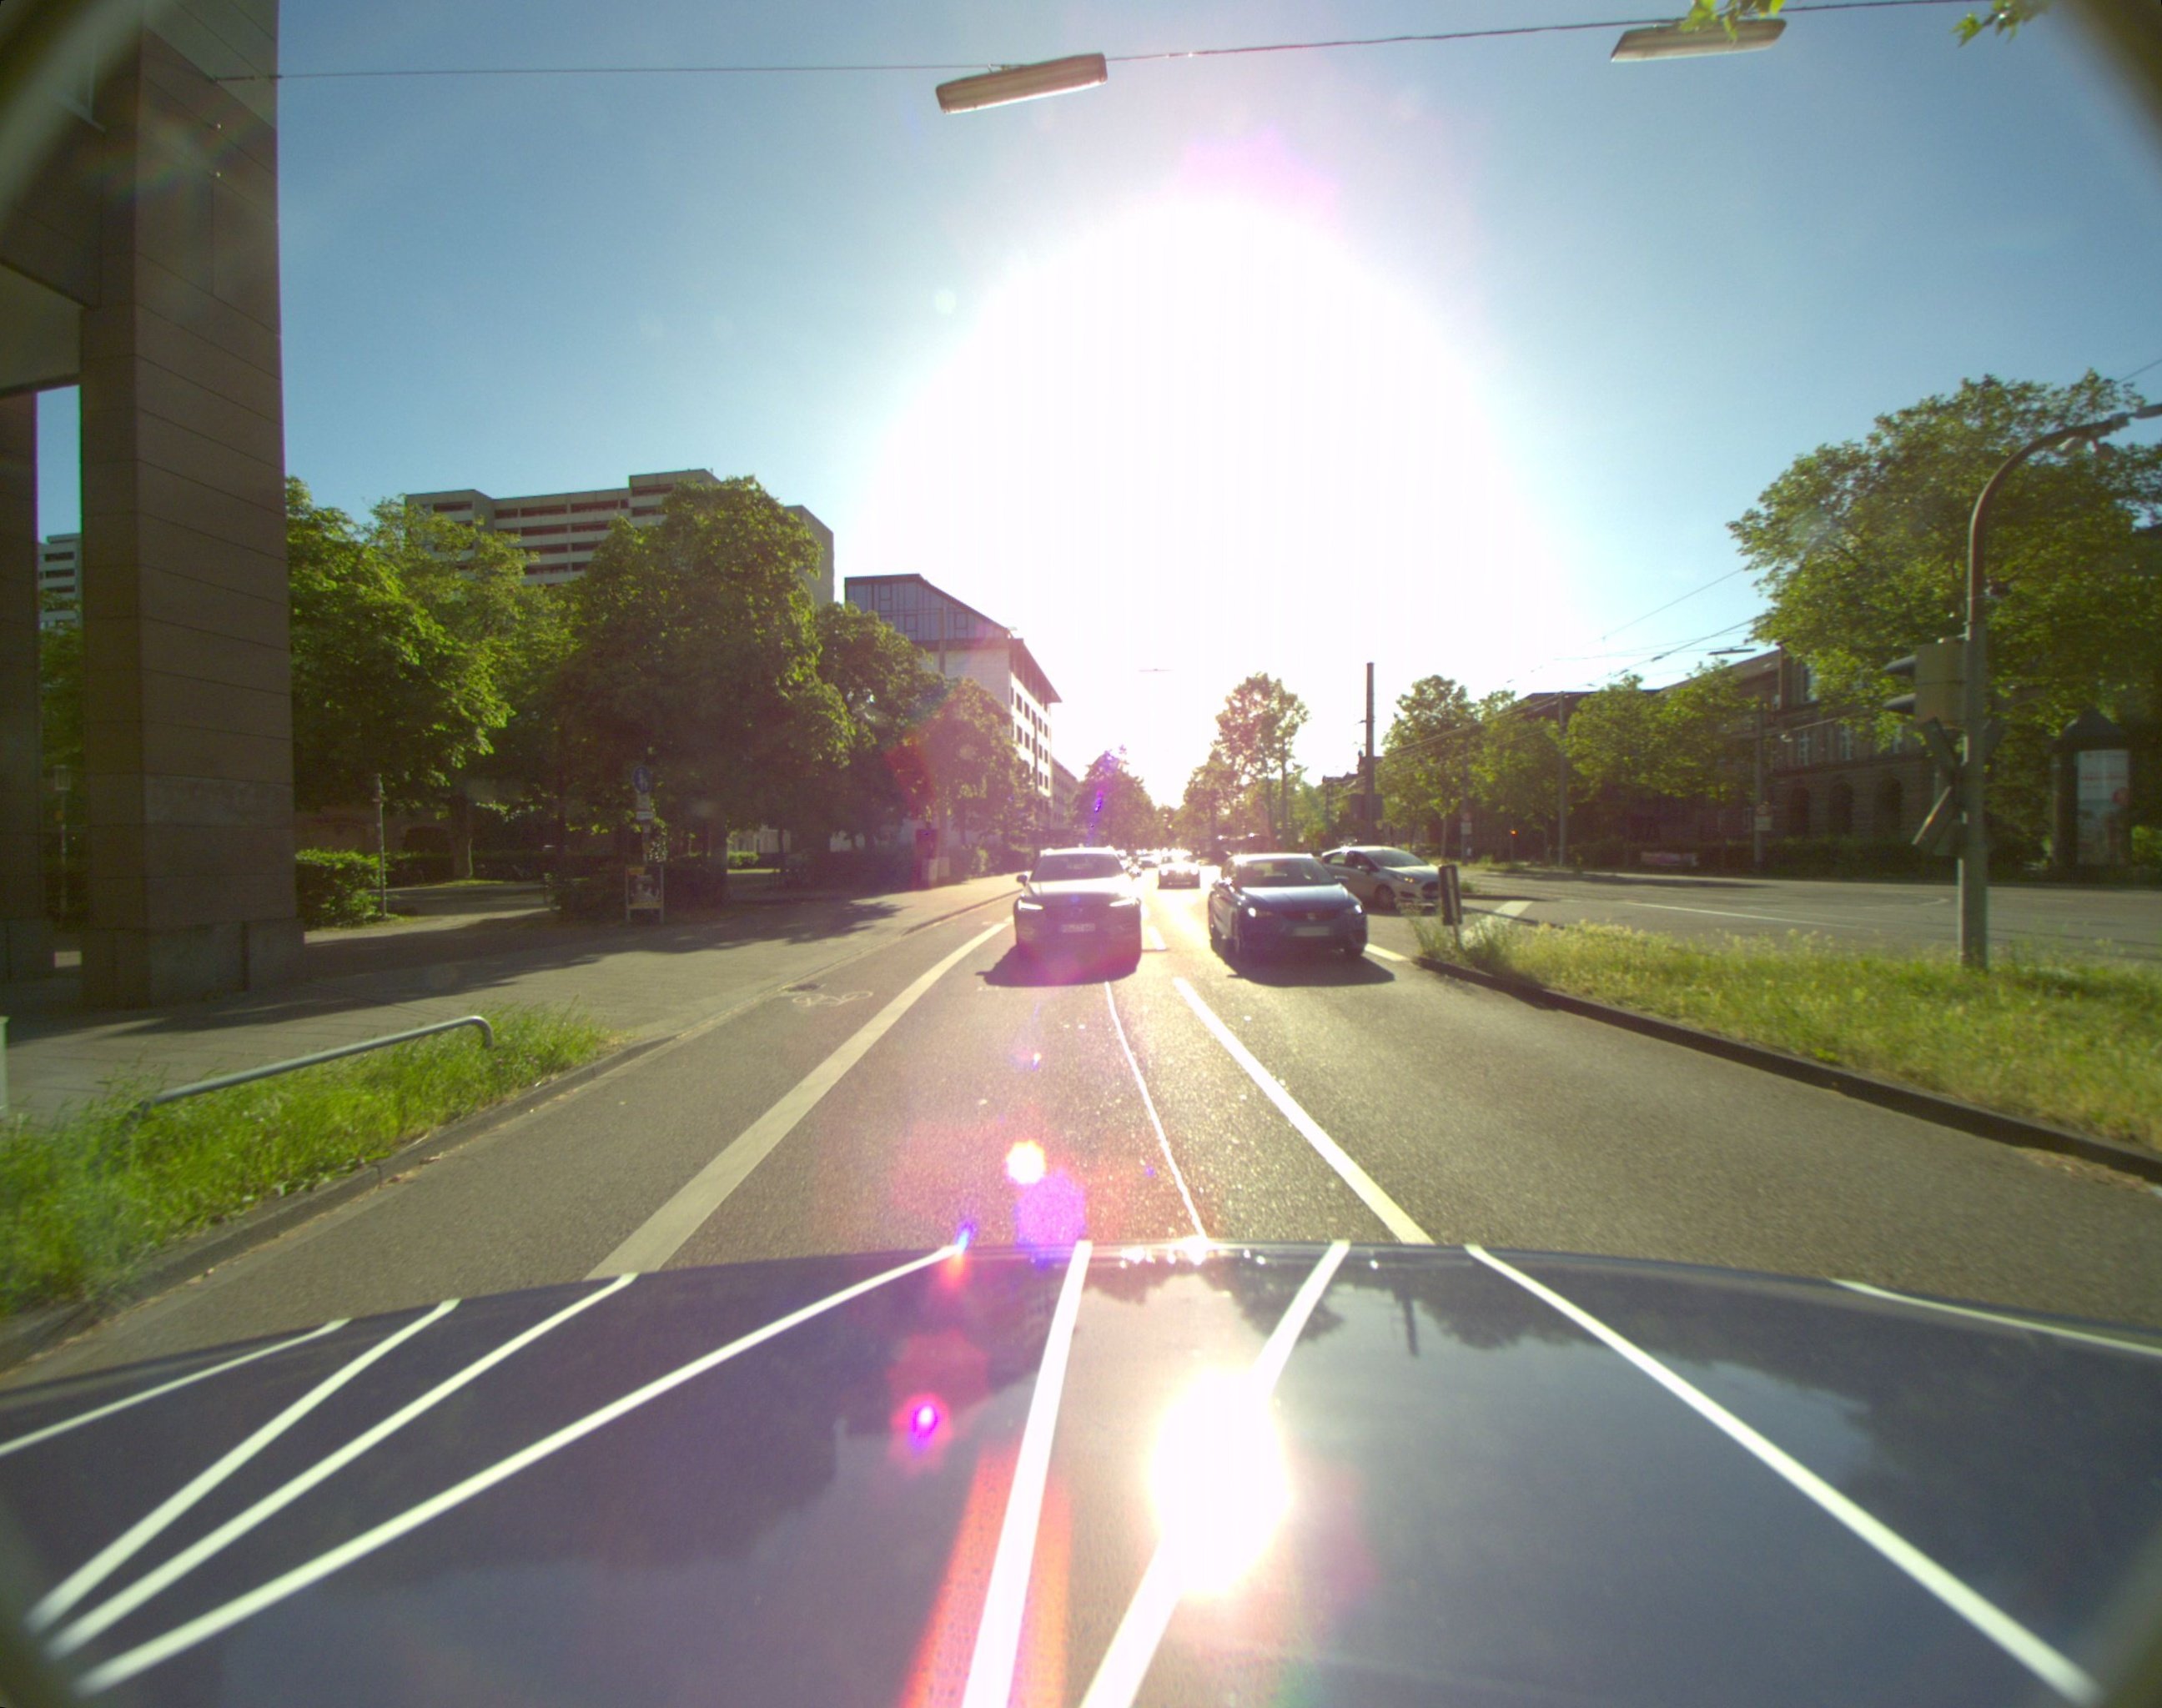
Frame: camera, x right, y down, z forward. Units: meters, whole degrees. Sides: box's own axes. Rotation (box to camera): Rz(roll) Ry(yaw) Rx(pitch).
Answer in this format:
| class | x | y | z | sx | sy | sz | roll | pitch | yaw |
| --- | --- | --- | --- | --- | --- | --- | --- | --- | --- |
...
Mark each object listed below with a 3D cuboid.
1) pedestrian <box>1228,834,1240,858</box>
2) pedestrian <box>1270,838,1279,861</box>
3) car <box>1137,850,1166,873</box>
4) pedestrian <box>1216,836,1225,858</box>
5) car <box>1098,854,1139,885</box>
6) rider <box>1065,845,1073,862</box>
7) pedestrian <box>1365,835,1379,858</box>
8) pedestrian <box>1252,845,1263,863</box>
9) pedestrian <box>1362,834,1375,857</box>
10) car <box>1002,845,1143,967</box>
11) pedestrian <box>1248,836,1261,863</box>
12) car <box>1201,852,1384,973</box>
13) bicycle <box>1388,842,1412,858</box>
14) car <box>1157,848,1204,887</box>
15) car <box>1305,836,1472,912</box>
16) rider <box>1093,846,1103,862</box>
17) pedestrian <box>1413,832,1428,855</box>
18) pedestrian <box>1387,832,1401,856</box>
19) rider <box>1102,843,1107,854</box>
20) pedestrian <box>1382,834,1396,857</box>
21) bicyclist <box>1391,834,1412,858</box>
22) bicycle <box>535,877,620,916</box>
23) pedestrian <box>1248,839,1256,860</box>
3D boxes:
| class | x | y | z | sx | sy | sz | roll | pitch | yaw |
| --- | --- | --- | --- | --- | --- | --- | --- | --- | --- |
| pedestrian | 13.796 | -0.711 | 68.618 | 0.785 | 2.175 | 0.801 | -2 | 1 | 26 |
| pedestrian | 14.448 | -0.344 | 56.763 | 0.544 | 1.652 | 0.730 | -2 | 1 | 11 |
| car | 5.524 | 0.572 | 58.949 | 1.774 | 1.567 | 3.825 | -2 | 1 | 11 |
| pedestrian | 13.039 | -0.652 | 70.886 | 0.710 | 2.002 | 0.787 | -3 | 1 | 7 |
| car | 1.879 | 0.725 | 37.045 | 1.603 | 1.387 | 4.002 | -1 | 1 | 8 |
| rider | -1.160 | -0.026 | 72.818 | 0.778 | 1.582 | 0.790 | 0 | 1 | 3 |
| pedestrian | 21.776 | -0.578 | 56.814 | 0.595 | 1.667 | 0.698 | -3 | 1 | -27 |
| pedestrian | 11.974 | -0.009 | 51.585 | 0.594 | 1.226 | 0.425 | -3 | 1 | -4 |
| pedestrian | 22.005 | -0.637 | 58.127 | 0.595 | 1.735 | 0.698 | -3 | 1 | -27 |
| car | 0.096 | 0.712 | 13.317 | 1.948 | 1.690 | 5.307 | -1 | 1 | 5 |
| pedestrian | 11.908 | -0.299 | 52.118 | 0.646 | 1.796 | 0.504 | -3 | 1 | -4 |
| car | 2.990 | 0.744 | 11.590 | 1.777 | 1.440 | 3.869 | -3 | 0 | 2 |
| bicycle | 22.328 | -0.269 | 53.162 | 1.665 | 1.036 | 0.543 | -3 | 2 | -25 |
| car | 4.124 | 0.511 | 31.943 | 1.798 | 1.420 | 4.001 | -3 | 1 | 6 |
| car | 7.293 | 0.425 | 18.452 | 1.668 | 1.586 | 3.857 | -3 | 1 | -17 |
| rider | 1.835 | 0.010 | 80.426 | 0.924 | 1.668 | 0.978 | -3 | 1 | 7 |
| pedestrian | 24.143 | -0.719 | 54.090 | 0.595 | 1.612 | 0.698 | -3 | 1 | -27 |
| pedestrian | 23.179 | -0.718 | 56.332 | 0.595 | 1.726 | 0.698 | -3 | 1 | -27 |
| rider | 3.696 | -0.859 | 118.680 | 0.758 | 1.717 | 0.895 | -3 | 1 | 5 |
| pedestrian | 22.428 | -0.606 | 55.313 | 0.595 | 1.634 | 0.698 | -3 | 1 | -30 |
| bicyclist | 22.430 | -0.548 | 53.172 | 0.970 | 1.634 | 0.833 | -3 | 1 | -27 |
| bicycle | -12.387 | 1.034 | 18.717 | 1.679 | 0.857 | 0.320 | -2 | 1 | -23 |
| pedestrian | 13.770 | -0.336 | 61.184 | 0.580 | 1.652 | 0.667 | -2 | 1 | 15 |
